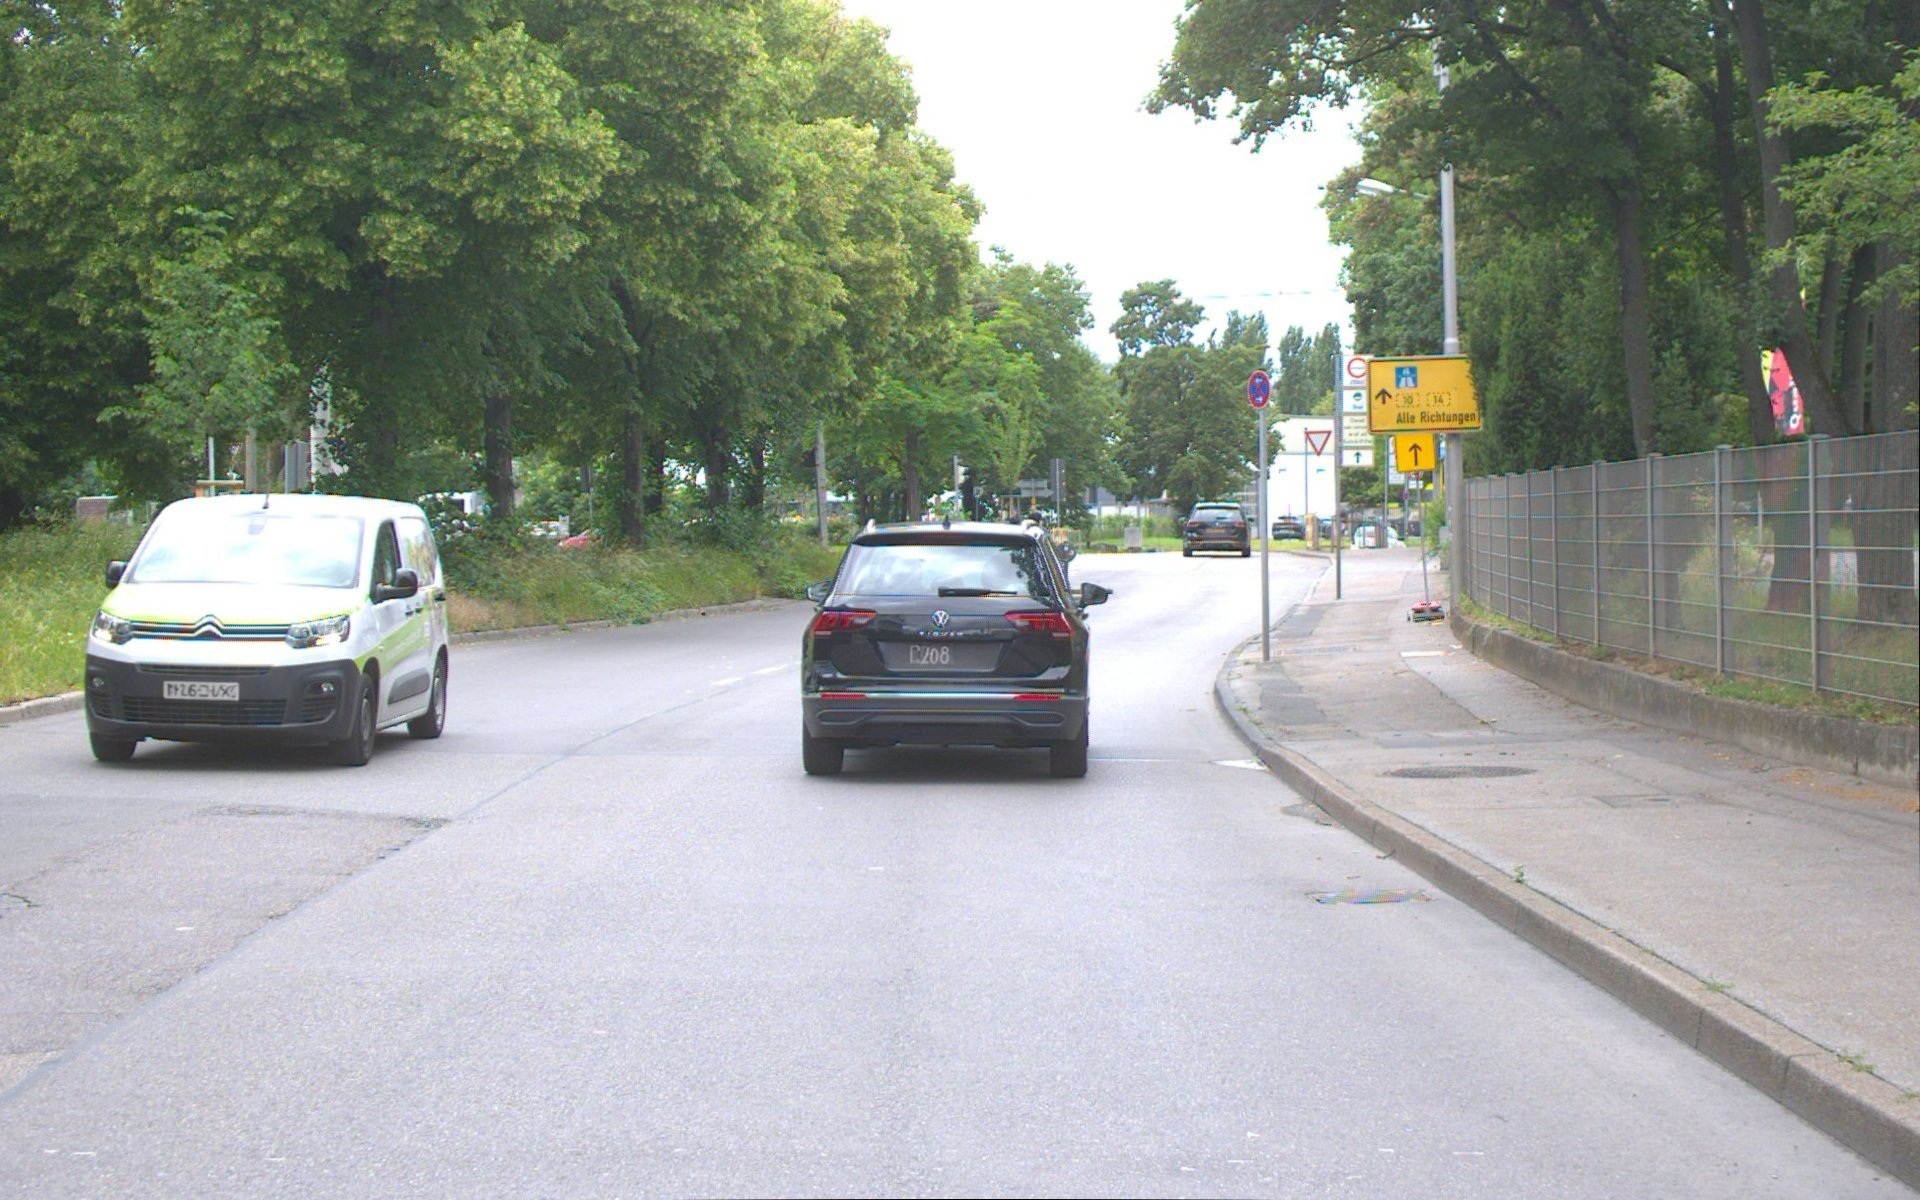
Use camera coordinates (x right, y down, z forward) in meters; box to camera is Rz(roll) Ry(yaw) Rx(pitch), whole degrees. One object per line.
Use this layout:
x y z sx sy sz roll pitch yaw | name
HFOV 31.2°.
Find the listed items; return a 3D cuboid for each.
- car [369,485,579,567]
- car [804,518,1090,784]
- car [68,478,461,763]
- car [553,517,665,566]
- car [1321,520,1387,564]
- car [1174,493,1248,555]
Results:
-14.974 -2.290 106.210 6.070 2.379 2.395 -1 2 2 | car
-0.067 0.287 22.708 1.739 1.612 3.641 0 1 0 | car
-4.633 0.082 23.495 1.808 1.758 4.206 0 1 0 | car
-11.133 -1.879 109.310 3.393 1.473 1.641 -1 2 -1 | car
16.198 -2.389 141.140 1.995 1.780 3.997 0 1 17 | car
6.718 -2.043 92.377 1.659 1.569 3.829 -2 1 0 | car
